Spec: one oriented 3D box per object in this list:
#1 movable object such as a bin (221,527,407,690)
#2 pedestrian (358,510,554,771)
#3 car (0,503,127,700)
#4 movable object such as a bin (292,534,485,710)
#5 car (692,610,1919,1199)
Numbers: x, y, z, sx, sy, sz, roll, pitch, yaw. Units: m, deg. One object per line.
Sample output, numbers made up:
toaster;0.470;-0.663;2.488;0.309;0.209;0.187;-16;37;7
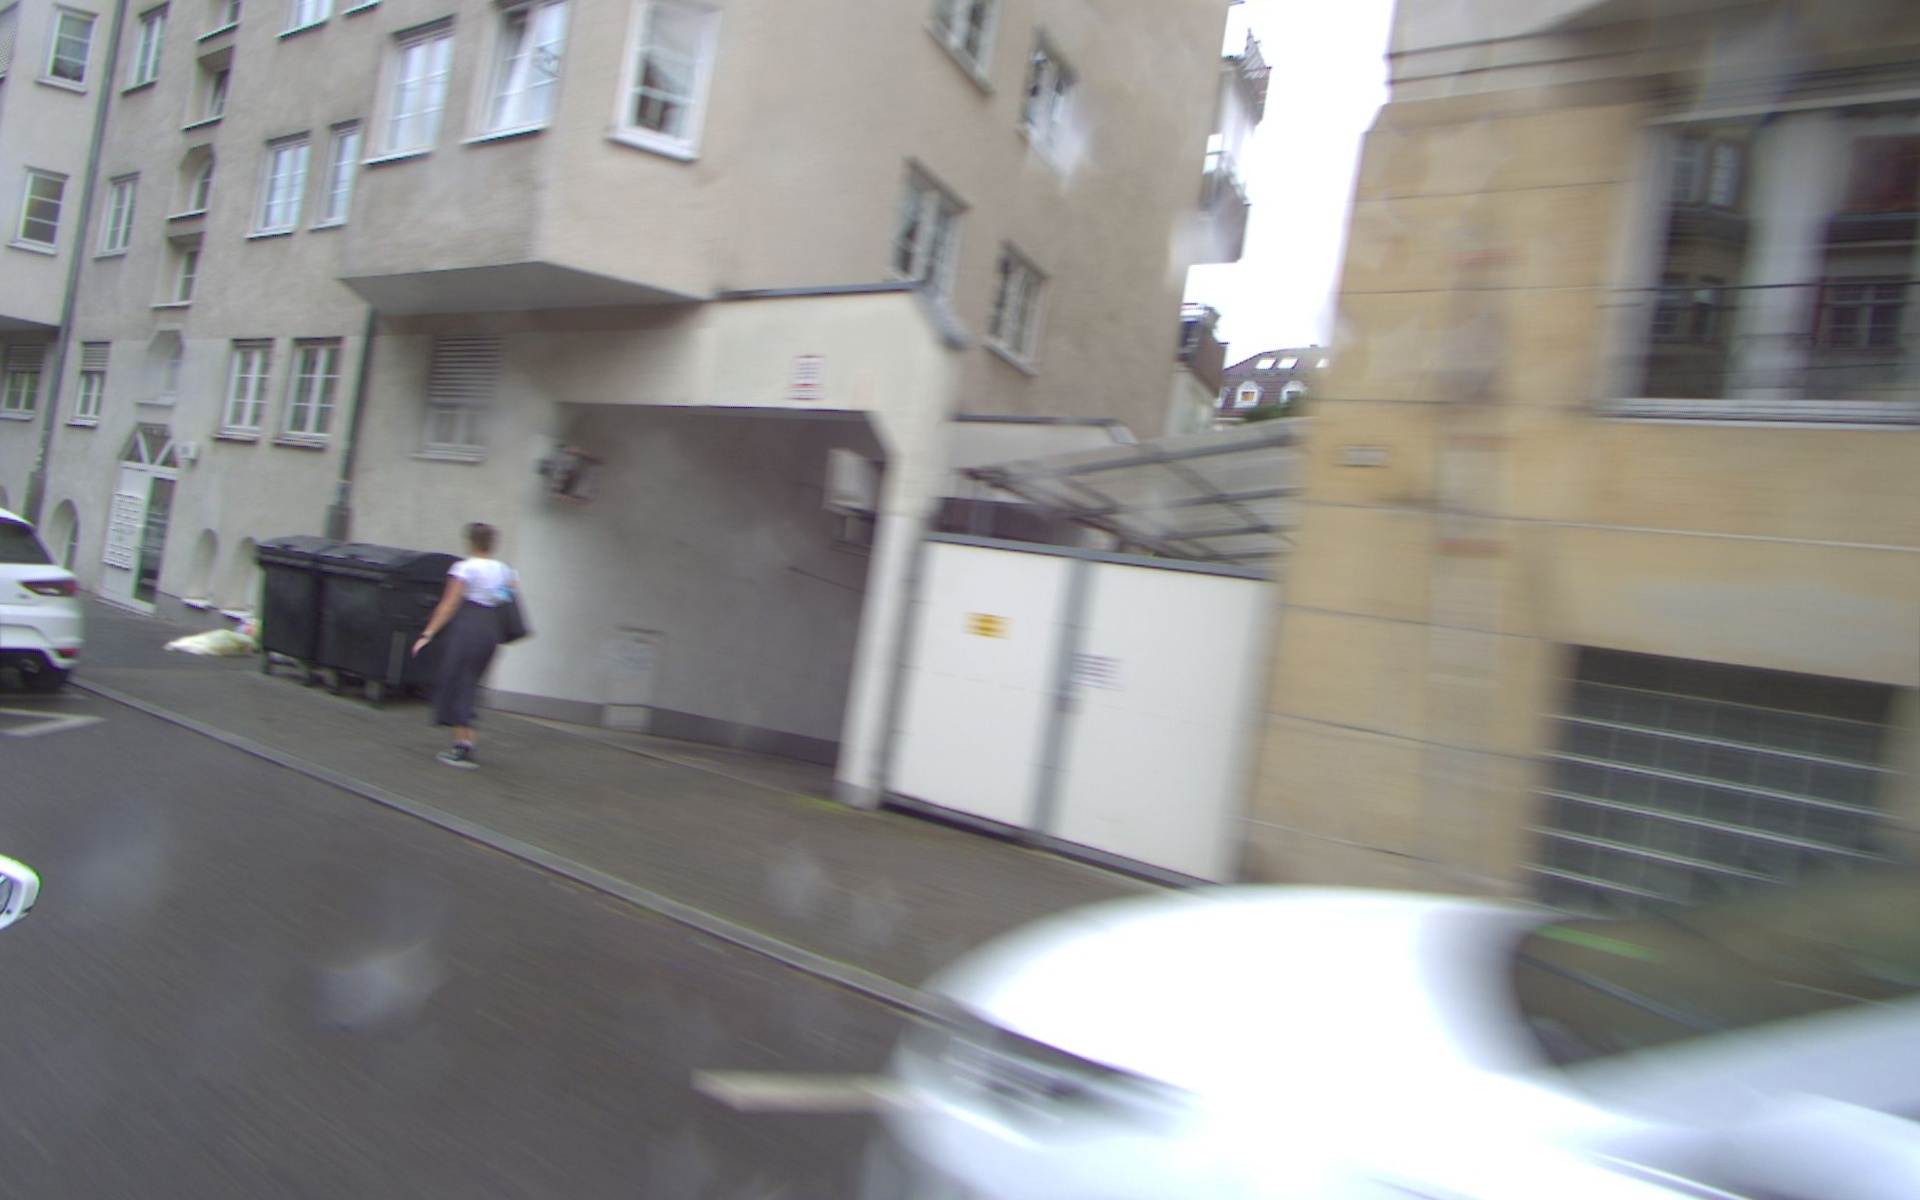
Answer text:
movable object such as a bin;-6.660;0.094;10.384;1.301;1.485;1.020;6;-2;32
pedestrian;-3.589;0.288;7.195;0.742;1.707;0.806;6;-1;31
car;-8.837;-0.199;8.193;4.322;1.401;1.792;6;-2;32
movable object such as a bin;-5.433;0.218;9.579;1.251;1.485;0.981;6;-2;32
car;1.958;1.042;1.341;4.696;1.485;1.715;6;-2;32
